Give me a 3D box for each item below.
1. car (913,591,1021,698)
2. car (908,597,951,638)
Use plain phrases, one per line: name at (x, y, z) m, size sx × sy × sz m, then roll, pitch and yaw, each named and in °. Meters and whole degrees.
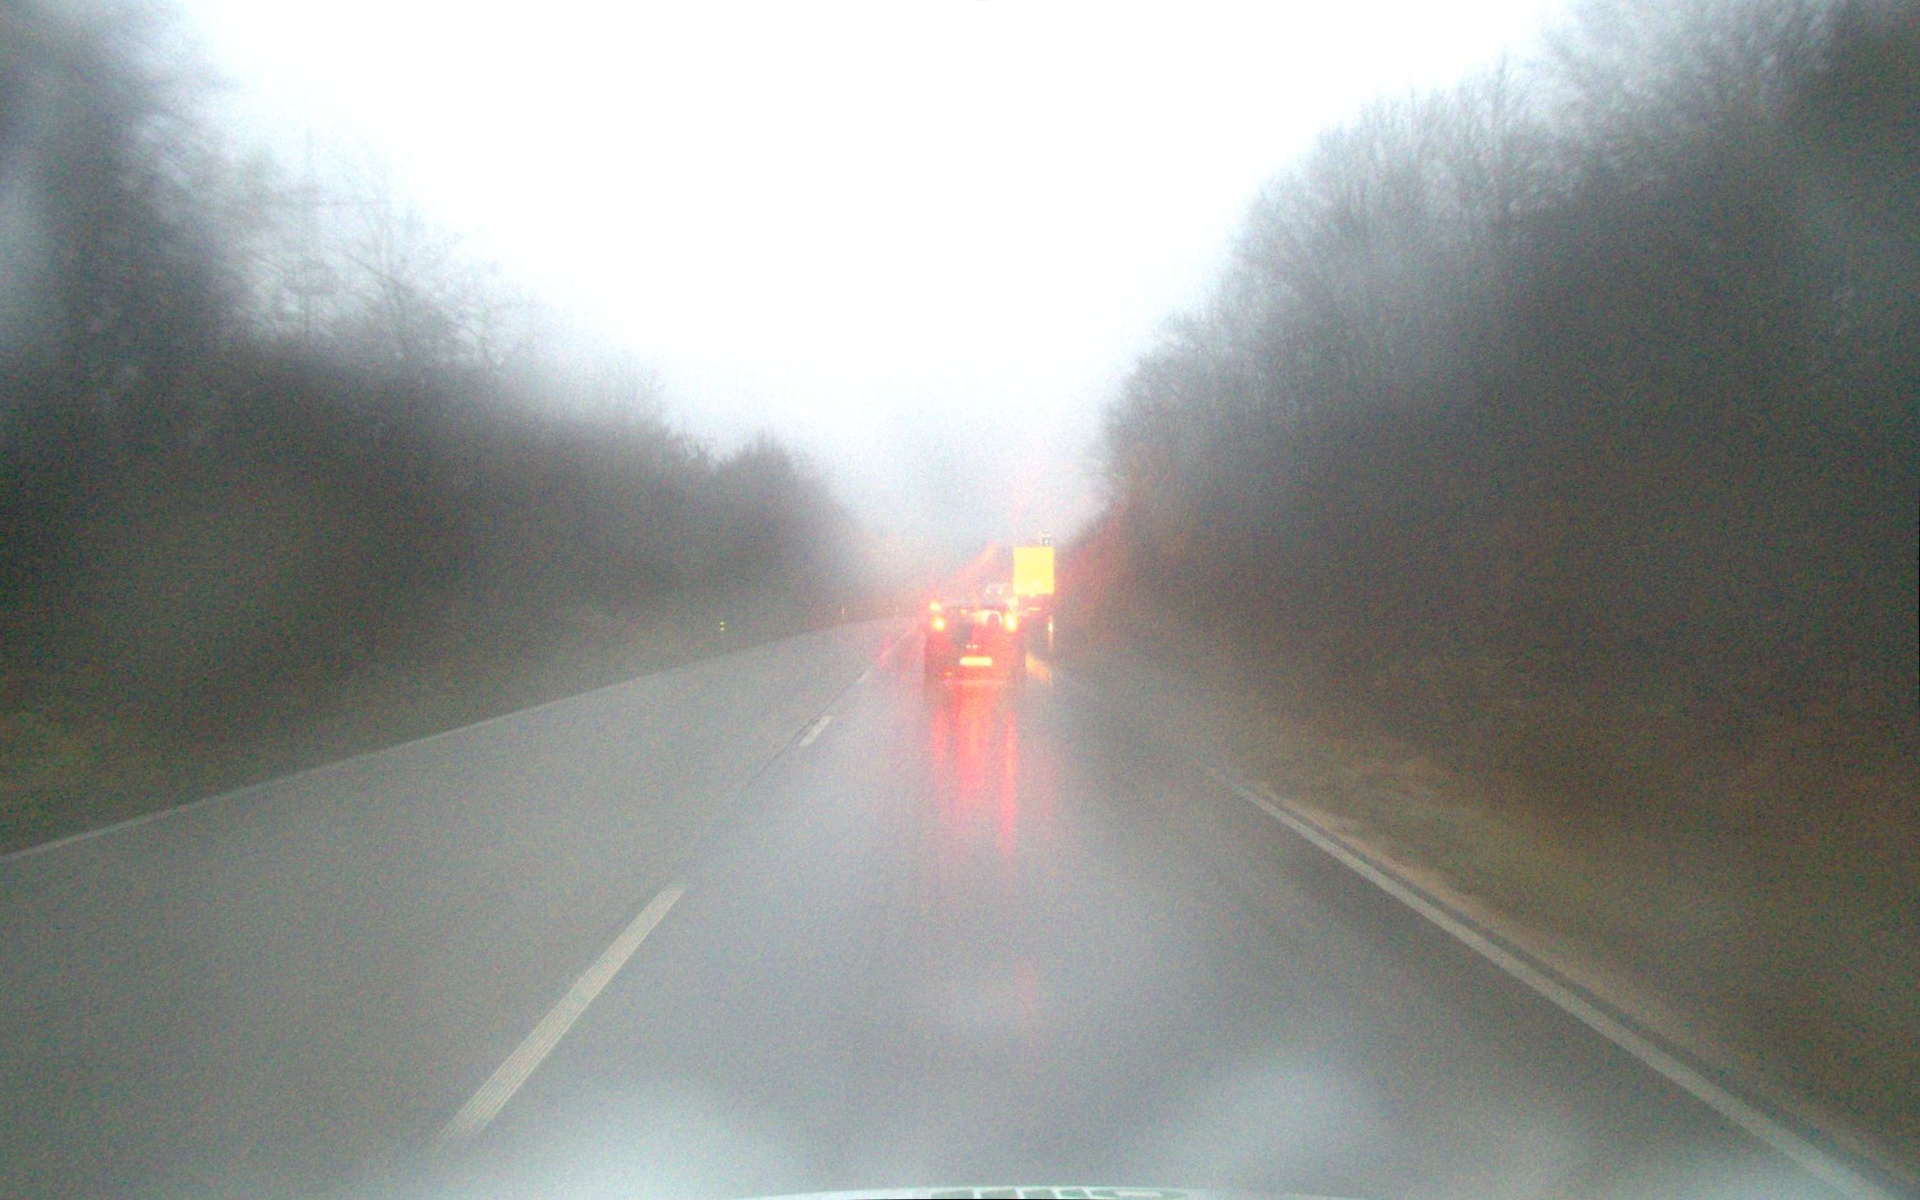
car at (0.116, 0.698, 27.892) m, size 1.692 × 1.672 × 4.000 m, roll 0°, pitch 0°, yaw 0°
car at (-1.265, 0.711, 69.608) m, size 1.692 × 1.672 × 4.000 m, roll 0°, pitch 0°, yaw 0°
